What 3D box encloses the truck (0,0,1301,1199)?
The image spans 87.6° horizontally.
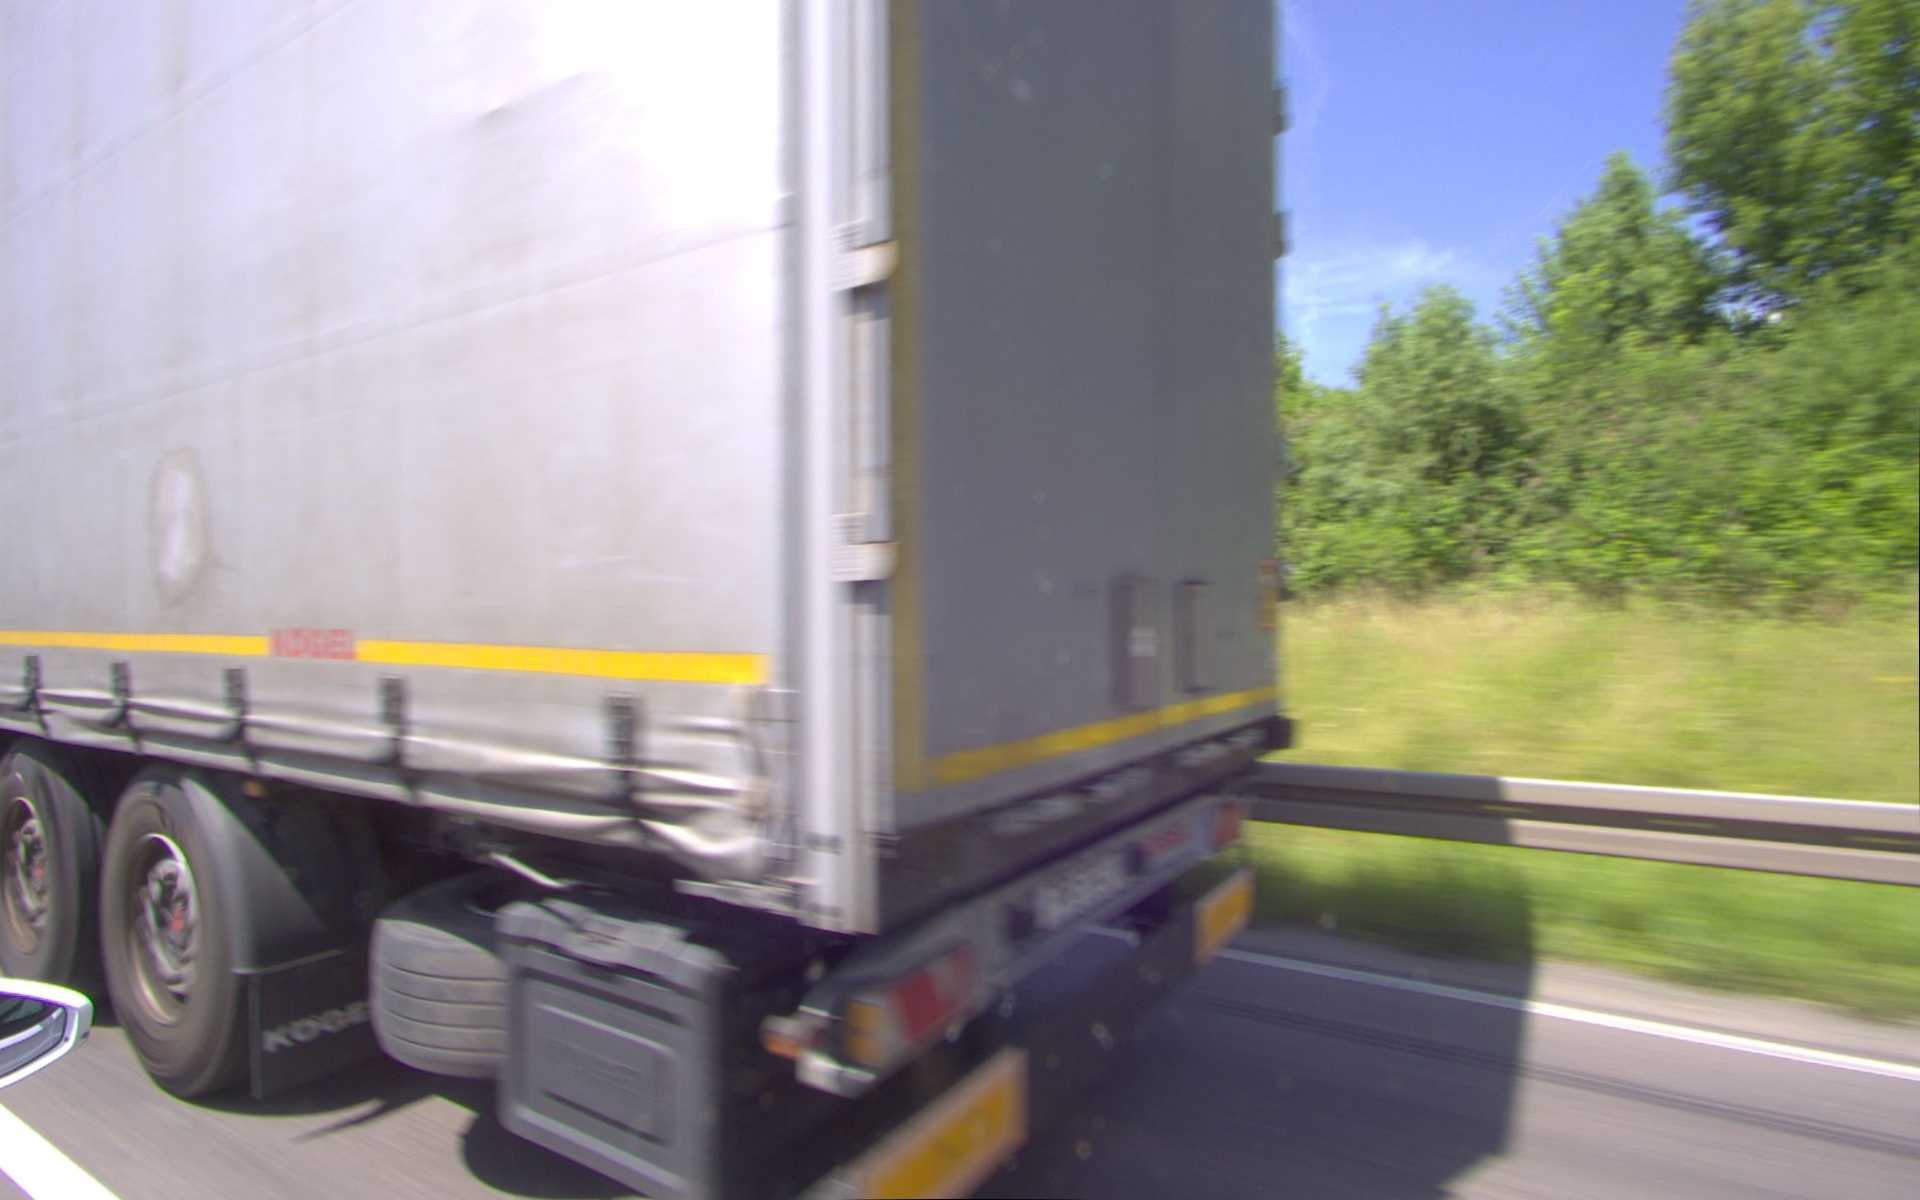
[{"bbox_3d":[-6.425,-0.356,6.964,16.421,4.697,2.750,-2,-2,33],"label":"truck"}]
